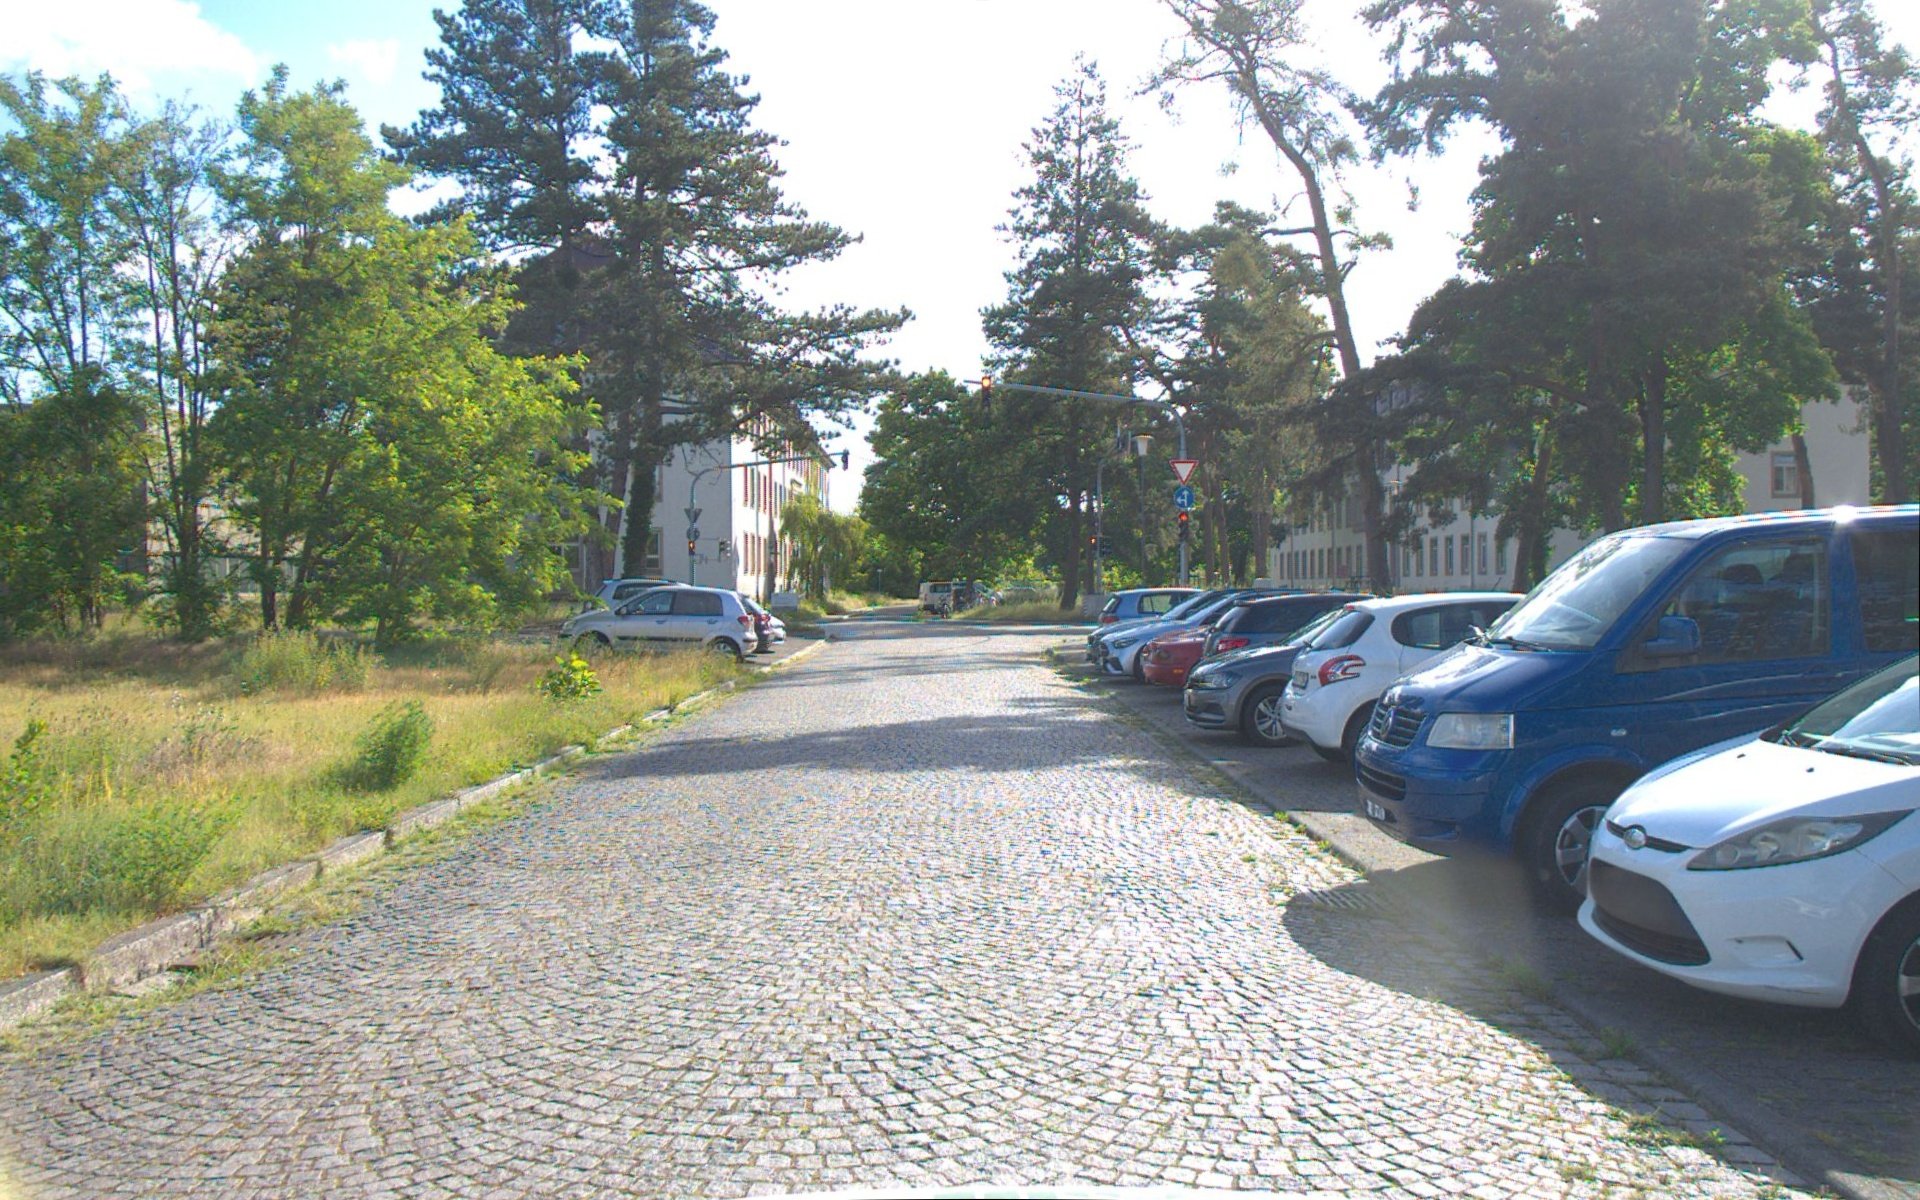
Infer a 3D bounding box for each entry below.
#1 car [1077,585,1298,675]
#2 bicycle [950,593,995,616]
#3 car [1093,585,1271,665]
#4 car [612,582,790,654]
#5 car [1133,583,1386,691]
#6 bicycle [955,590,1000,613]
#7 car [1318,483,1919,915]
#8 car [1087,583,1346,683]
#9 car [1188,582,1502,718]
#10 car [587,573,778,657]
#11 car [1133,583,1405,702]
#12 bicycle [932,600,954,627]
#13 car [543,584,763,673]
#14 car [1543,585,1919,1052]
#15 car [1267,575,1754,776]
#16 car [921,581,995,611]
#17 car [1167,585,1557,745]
[{"bbox_3d":[4.091,0.515,30.072,3.758,1.556,1.645,0,0,-2],"label":"car"},{"bbox_3d":[0.622,0.226,81.650,2.134,1.119,0.805,0,0,-11],"label":"bicycle"},{"bbox_3d":[4.351,0.468,32.716,3.276,1.508,1.645,0,0,-2],"label":"car"},{"bbox_3d":[-6.133,0.409,39.562,3.906,1.478,2.000,3,0,-2],"label":"car"},{"bbox_3d":[4.492,0.532,25.125,3.530,1.556,1.645,0,0,-2],"label":"car"},{"bbox_3d":[0.883,0.066,82.738,2.134,1.119,0.805,0,0,-11],"label":"bicycle"},{"bbox_3d":[4.506,0.448,9.071,4.584,2.049,2.082,0,0,-4],"label":"car"},{"bbox_3d":[4.180,0.515,27.302,3.955,1.556,1.644,0,0,-5],"label":"car"},{"bbox_3d":[4.598,0.576,20.077,3.408,1.556,1.645,0,0,-2],"label":"car"},{"bbox_3d":[-6.170,0.326,37.160,3.907,1.629,2.000,3,0,-1],"label":"car"},{"bbox_3d":[4.187,0.553,22.762,3.408,1.556,1.645,0,0,-2],"label":"car"},{"bbox_3d":[-0.801,0.633,78.168,0.789,1.190,2.177,-2,1,-7],"label":"bicycle"},{"bbox_3d":[-5.819,0.515,31.777,3.908,1.628,1.999,0,0,-4],"label":"car"},{"bbox_3d":[4.379,0.699,6.411,3.645,1.514,1.644,-1,0,-3],"label":"car"},{"bbox_3d":[4.628,0.607,14.271,3.619,1.491,1.645,-2,0,0],"label":"car"},{"bbox_3d":[-0.110,-0.270,99.109,4.390,1.758,2.000,0,0,-2],"label":"car"},{"bbox_3d":[4.082,0.635,17.150,3.601,1.492,1.645,-1,0,-2],"label":"car"}]
